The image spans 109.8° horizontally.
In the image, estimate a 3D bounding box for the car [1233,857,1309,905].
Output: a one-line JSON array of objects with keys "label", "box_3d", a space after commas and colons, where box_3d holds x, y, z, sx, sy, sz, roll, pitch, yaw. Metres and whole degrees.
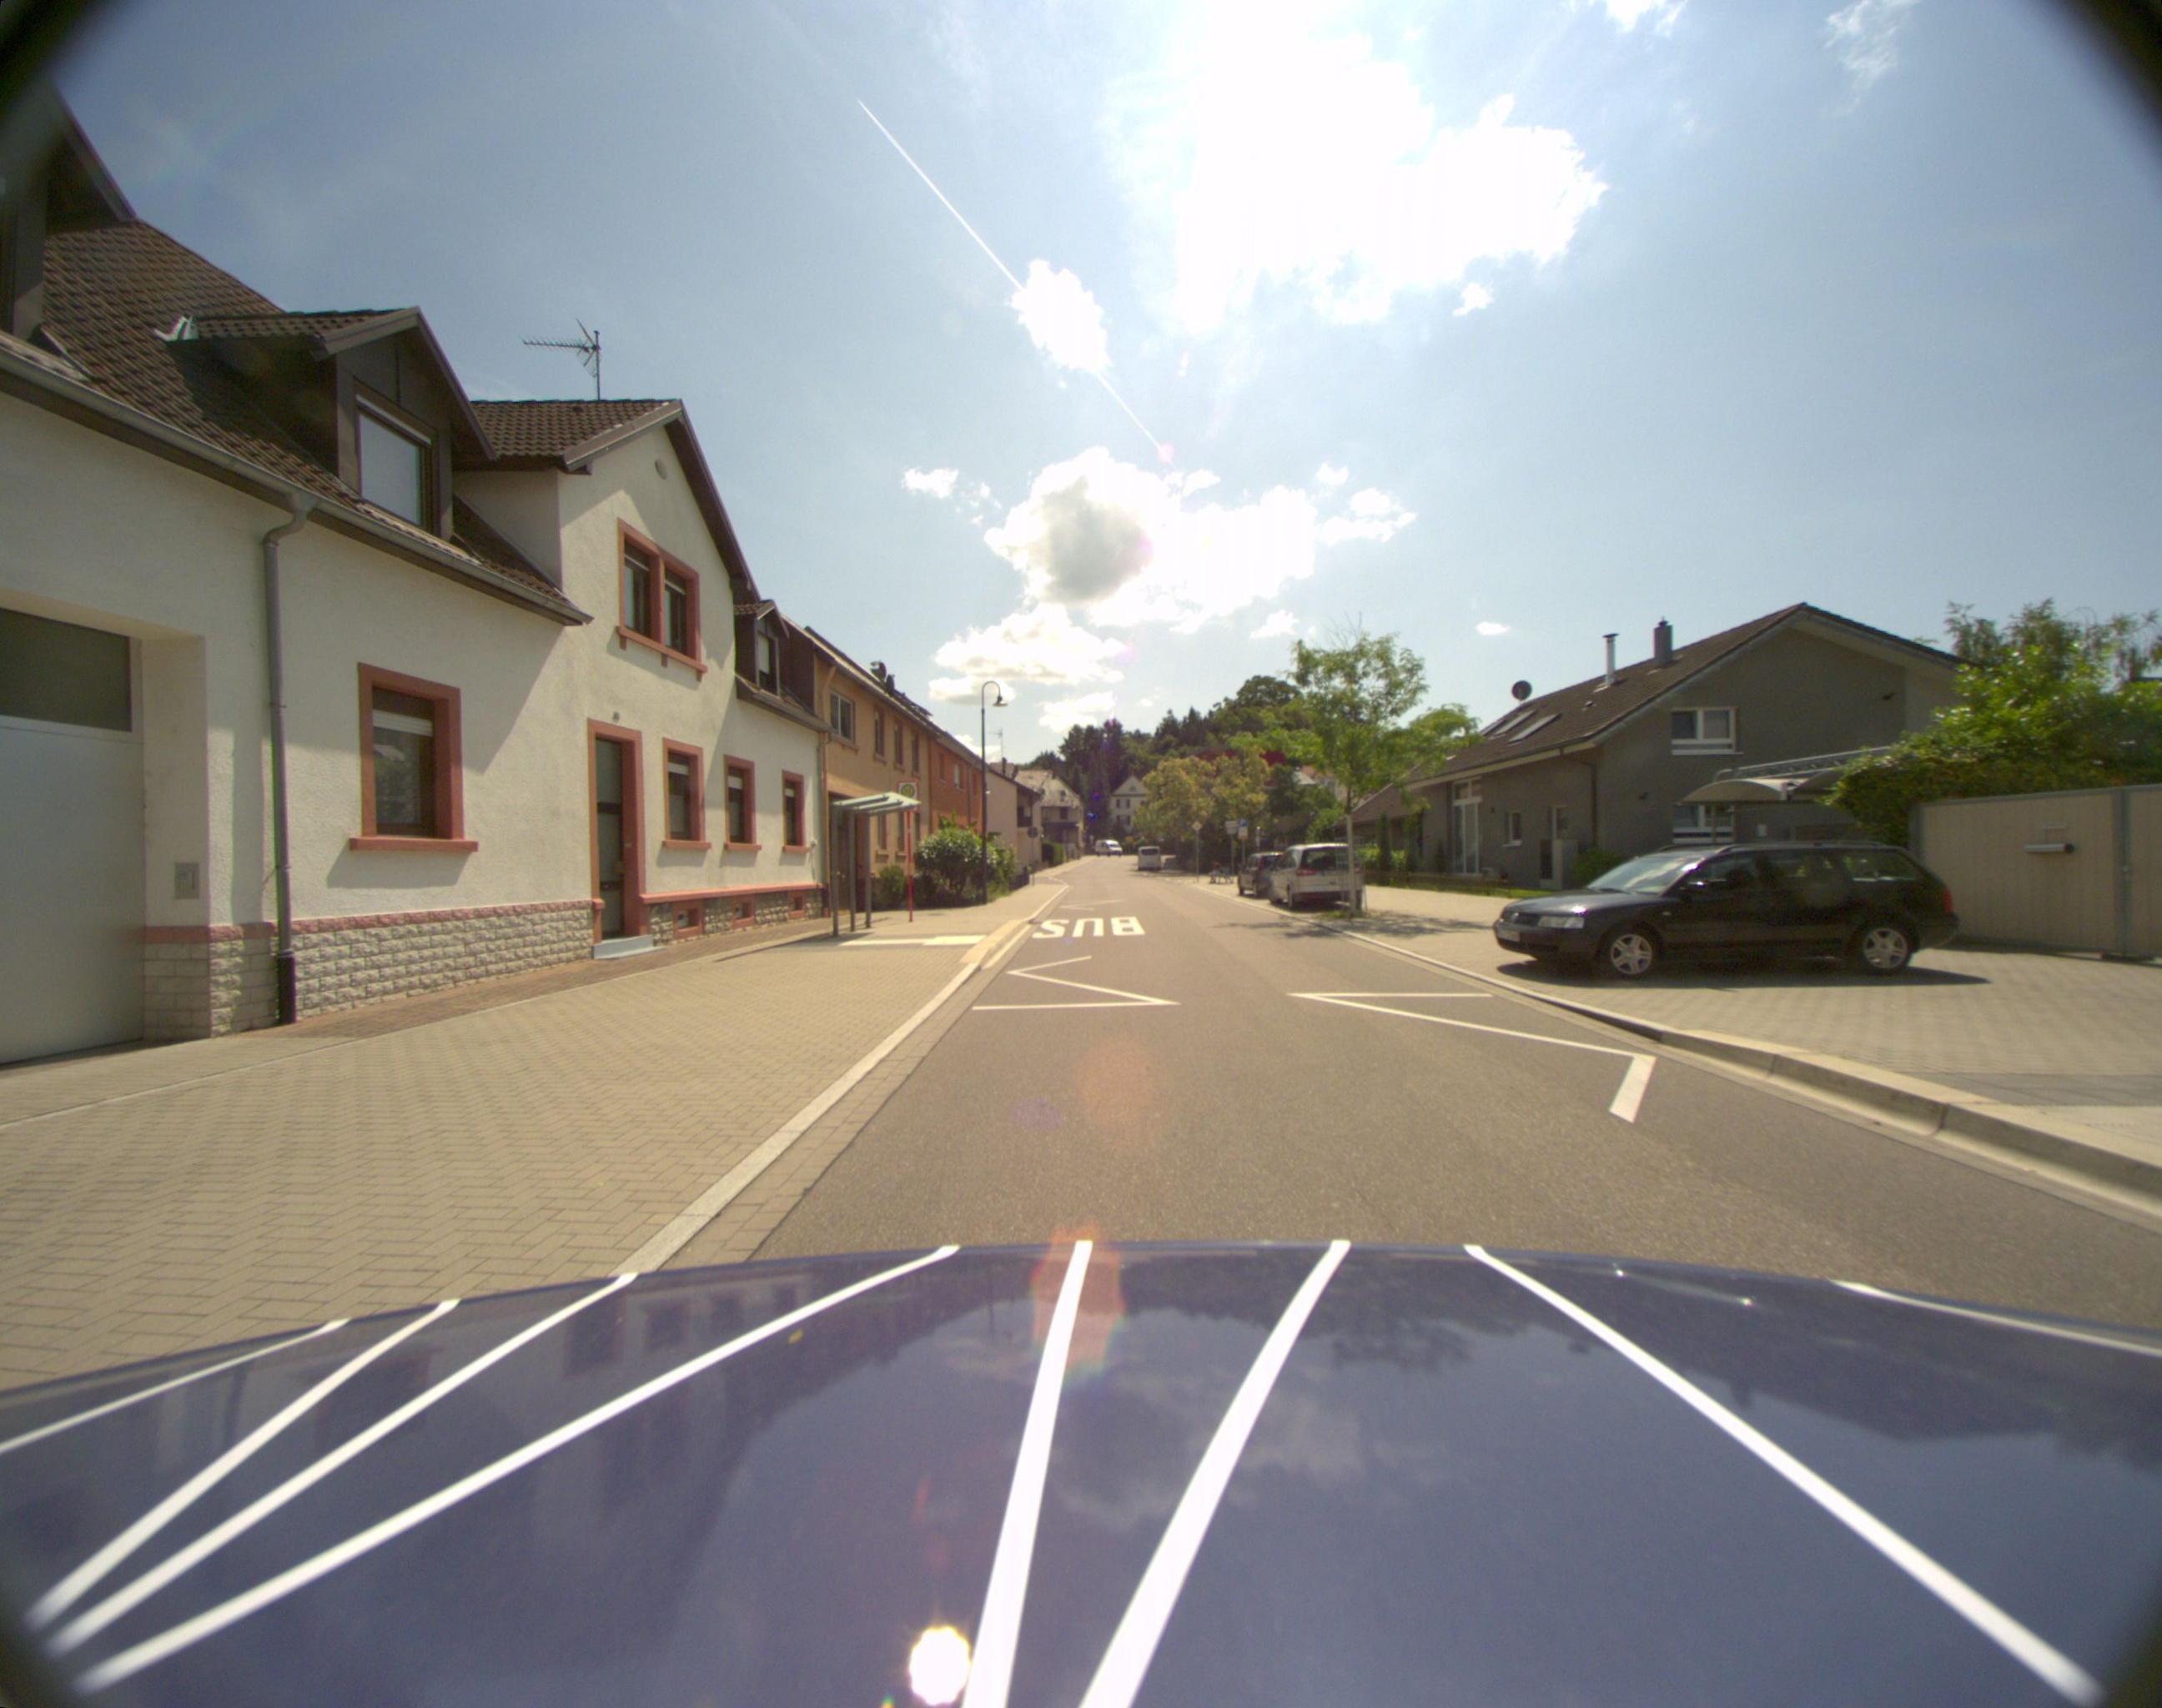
[{"label": "car", "box_3d": [6.675, 0.918, 27.123, 1.727, 1.515, 3.910, -2, -1, 0]}]

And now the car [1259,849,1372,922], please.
[{"label": "car", "box_3d": [6.317, 0.820, 21.055, 1.843, 1.737, 4.688, -2, -1, 3]}]

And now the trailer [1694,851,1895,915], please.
[{"label": "trailer", "box_3d": [17.661, 0.680, 18.896, 3.642, 1.380, 1.585, -2, 1, -4]}]

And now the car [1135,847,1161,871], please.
[{"label": "car", "box_3d": [5.725, 0.377, 65.315, 1.998, 1.968, 4.000, -1, 1, 1]}]

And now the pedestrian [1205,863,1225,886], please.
[{"label": "pedestrian", "box_3d": [6.982, 1.068, 39.667, 0.815, 1.135, 0.885, -2, 1, -2]}]

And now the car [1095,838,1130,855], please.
[{"label": "car", "box_3d": [4.657, -1.099, 113.841, 2.495, 2.306, 5.587, -3, 1, -30]}]

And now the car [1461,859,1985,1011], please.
[{"label": "car", "box_3d": [7.344, 0.883, 9.102, 4.598, 1.508, 1.902, -2, 0, 2]}]
